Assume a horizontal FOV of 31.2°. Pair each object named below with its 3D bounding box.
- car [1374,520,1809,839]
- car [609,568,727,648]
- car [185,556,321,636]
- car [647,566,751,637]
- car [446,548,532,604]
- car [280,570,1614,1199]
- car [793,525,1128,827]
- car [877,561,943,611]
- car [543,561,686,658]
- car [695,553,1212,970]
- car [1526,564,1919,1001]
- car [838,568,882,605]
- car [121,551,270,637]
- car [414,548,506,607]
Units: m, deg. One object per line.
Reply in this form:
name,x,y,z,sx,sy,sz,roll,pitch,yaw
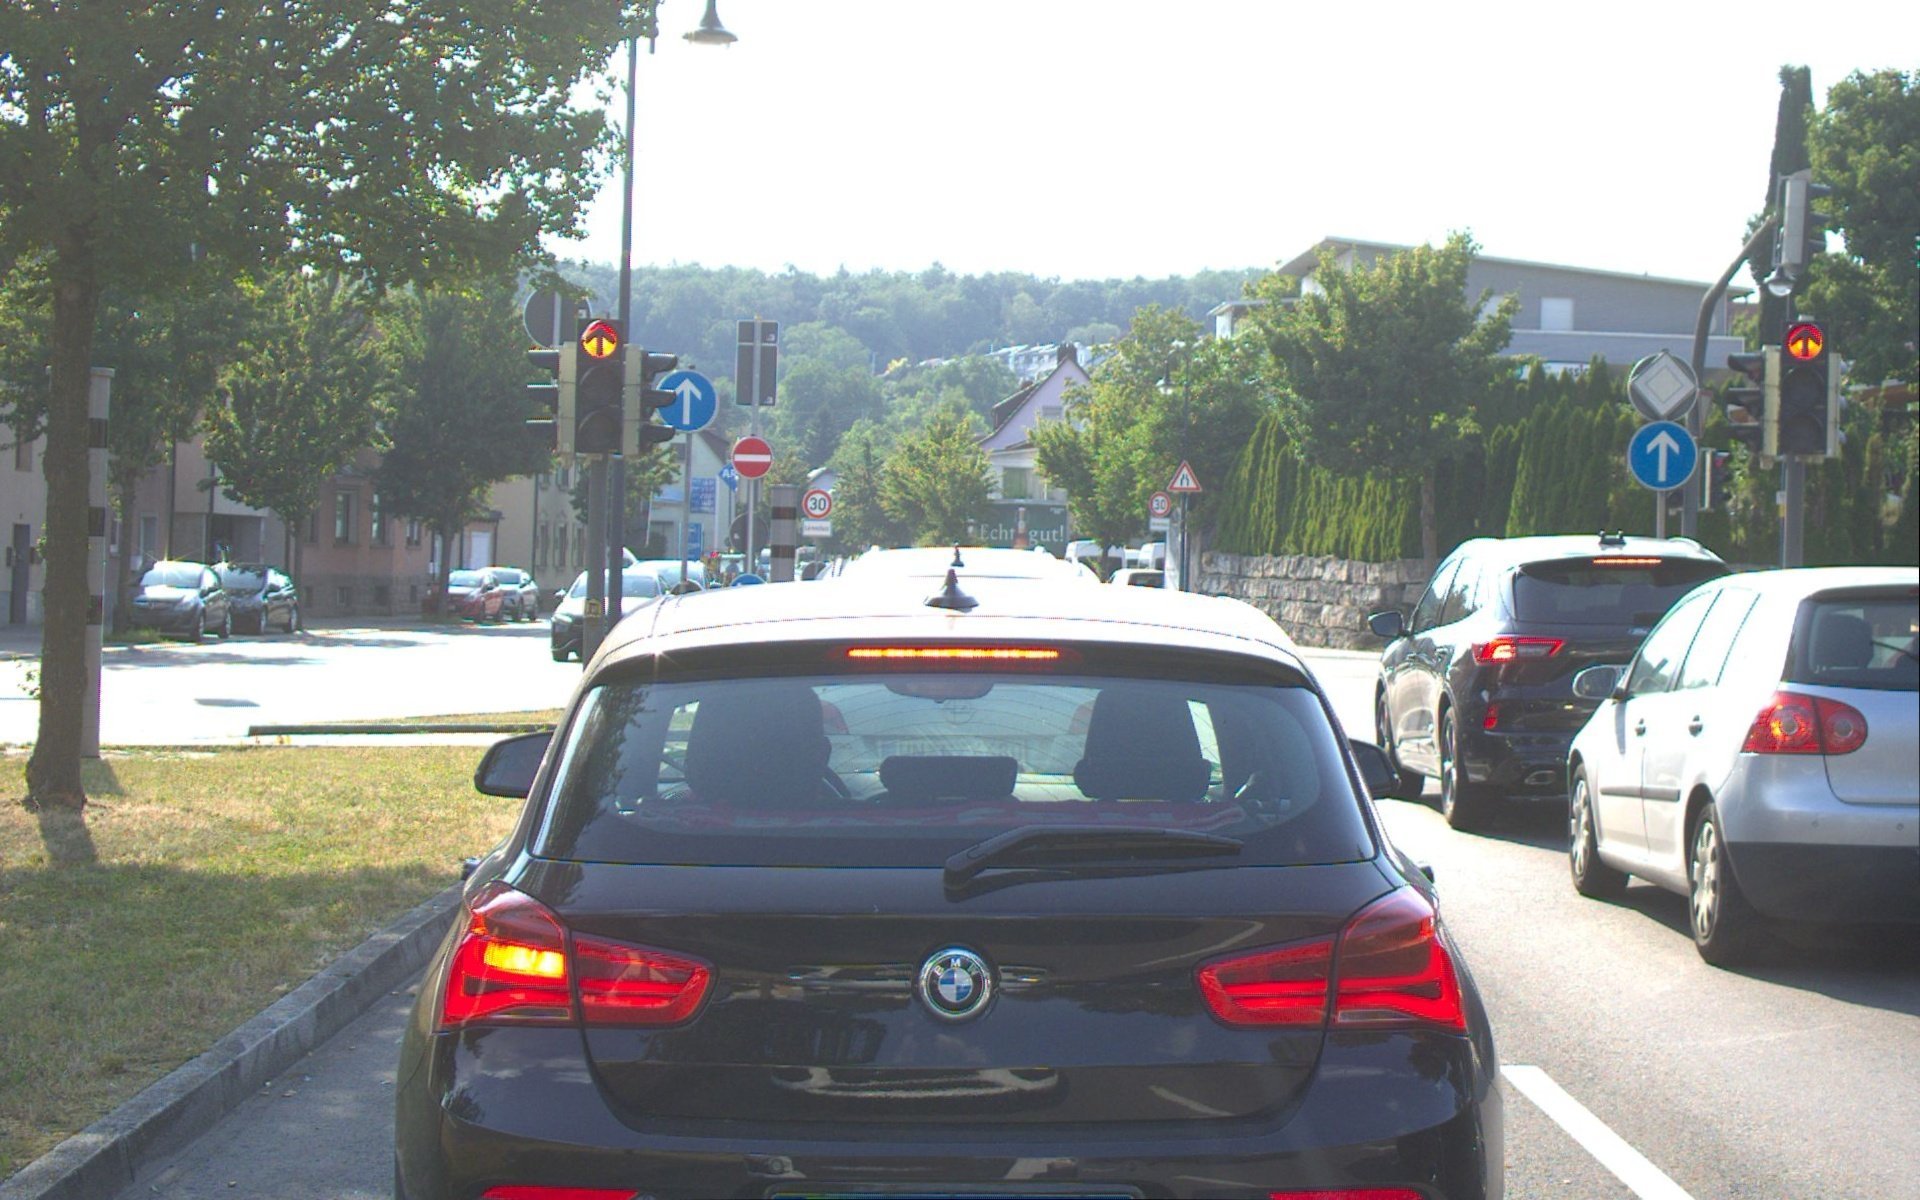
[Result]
car,3.586,0.384,20.277,1.816,1.660,4.347,1,1,1
car,-5.257,0.122,62.204,1.693,1.348,4.000,1,1,1
car,-14.756,-0.106,71.939,1.924,1.590,4.000,1,1,1
car,-5.228,0.007,69.224,1.693,1.348,4.000,1,1,1
car,-14.069,-0.737,102.803,1.924,1.590,4.000,1,1,1
car,0.012,0.673,6.815,1.791,1.410,4.347,1,1,1
car,0.037,0.385,20.991,1.816,1.635,4.242,1,1,1
car,-1.758,-0.506,119.721,1.890,1.696,4.525,-1,1,-6
car,-5.463,0.121,54.788,1.766,1.453,4.000,1,1,1
car,0.010,0.542,14.296,1.816,1.446,4.242,1,1,1
car,3.505,0.601,13.765,1.816,1.441,4.347,1,1,1
car,-4.506,-0.601,155.405,1.924,1.590,4.000,1,1,-1
car,-14.896,-0.146,67.165,1.924,1.590,4.000,1,1,1
car,-14.134,-0.648,97.298,1.924,1.590,4.000,1,1,1
